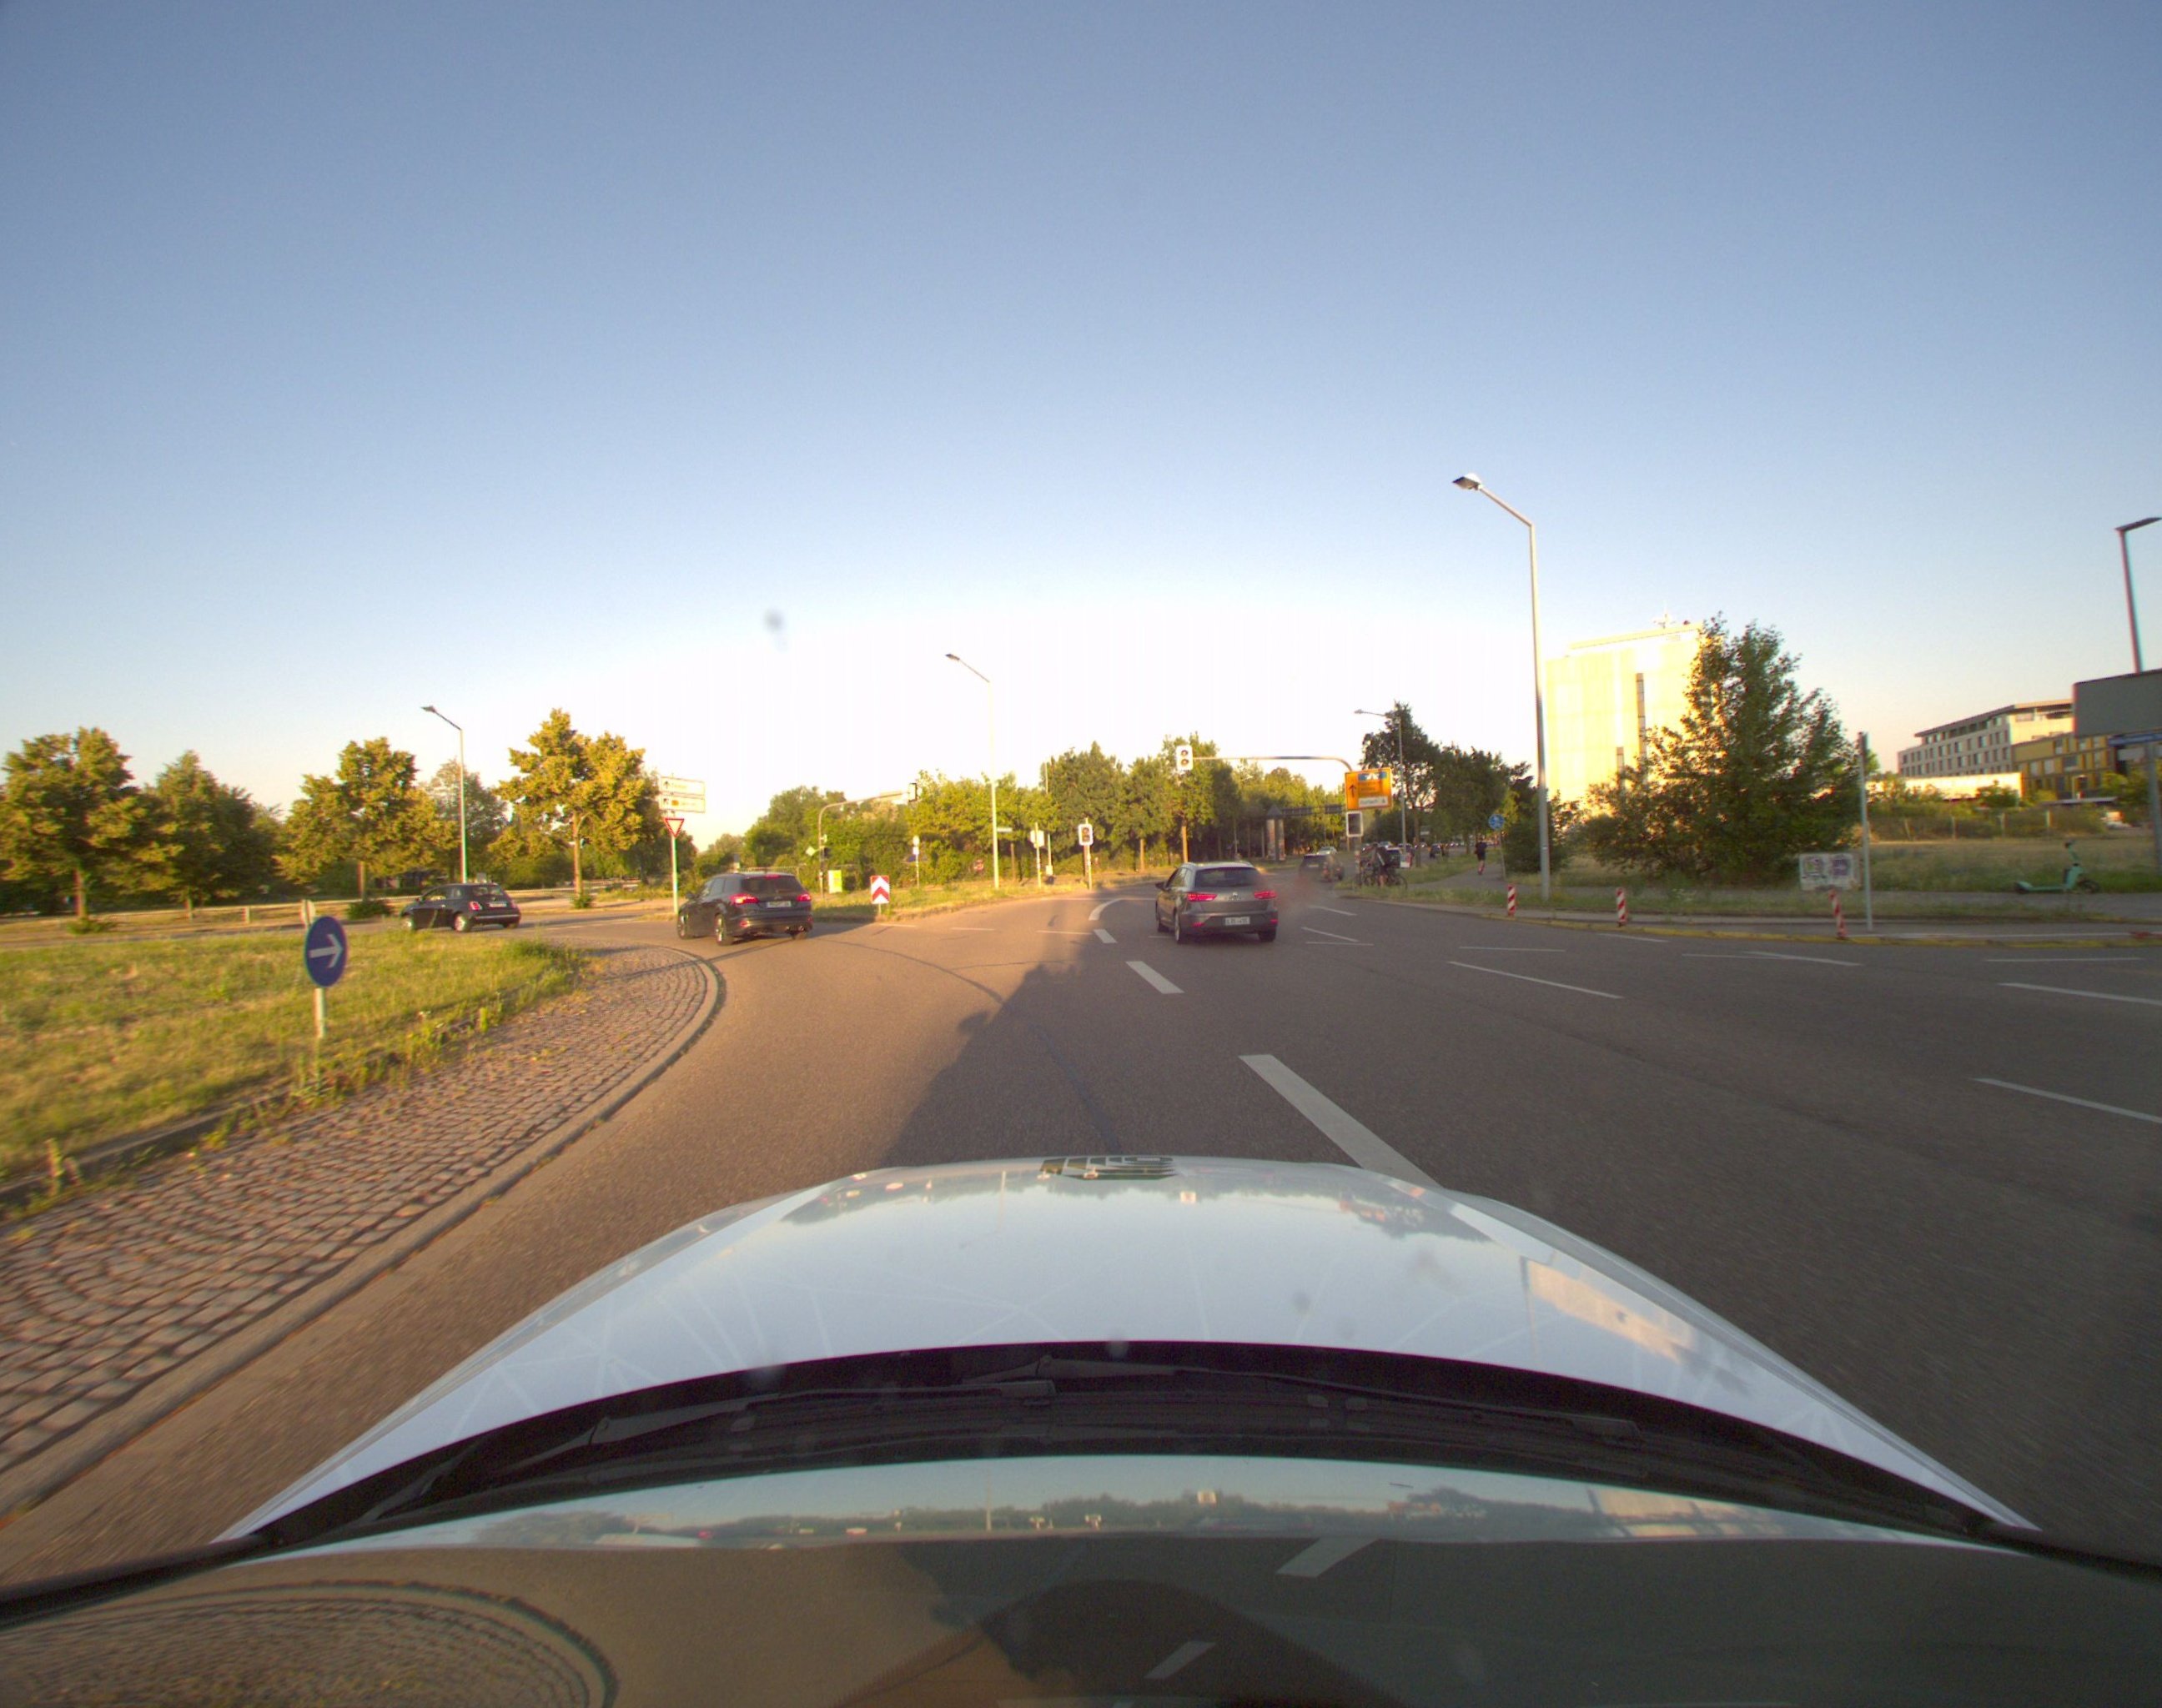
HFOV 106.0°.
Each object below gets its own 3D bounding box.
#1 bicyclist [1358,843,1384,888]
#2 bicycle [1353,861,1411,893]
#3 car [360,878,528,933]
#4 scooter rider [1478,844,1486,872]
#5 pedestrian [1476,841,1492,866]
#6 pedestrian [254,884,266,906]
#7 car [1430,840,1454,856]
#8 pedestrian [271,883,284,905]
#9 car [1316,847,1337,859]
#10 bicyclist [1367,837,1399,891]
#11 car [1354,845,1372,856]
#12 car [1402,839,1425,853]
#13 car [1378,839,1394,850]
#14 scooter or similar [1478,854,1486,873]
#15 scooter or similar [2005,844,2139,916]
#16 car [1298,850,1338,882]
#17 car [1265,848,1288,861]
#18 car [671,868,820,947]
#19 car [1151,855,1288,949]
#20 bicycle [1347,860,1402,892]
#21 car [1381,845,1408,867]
[{"bbox_3d":[11.384,0.431,31.948,0.760,1.702,0.645,-5,-1,28],"label":"bicyclist"},{"bbox_3d":[11.063,0.851,29.933,1.904,1.085,0.459,-4,-1,28],"label":"bicycle"},{"bbox_3d":[-19.367,1.546,24.810,4.093,1.446,1.758,-2,0,12],"label":"car"},{"bbox_3d":[19.947,0.193,40.497,0.261,1.339,0.409,-2,0,29],"label":"scooter rider"},{"bbox_3d":[25.437,-0.056,51.405,0.786,1.550,0.571,-3,-1,31],"label":"pedestrian"},{"bbox_3d":[-63.040,3.126,62.542,0.584,1.626,0.526,-2,-1,-41],"label":"pedestrian"},{"bbox_3d":[37.927,-0.665,85.574,1.887,1.618,4.025,-2,0,29],"label":"car"},{"bbox_3d":[-62.190,3.084,63.047,0.623,1.626,0.524,-2,-1,-41],"label":"pedestrian"},{"bbox_3d":[32.401,-0.136,107.265,1.705,1.449,4.578,-2,0,29],"label":"car"},{"bbox_3d":[11.100,0.373,29.891,0.898,1.897,0.645,-4,-1,28],"label":"bicyclist"},{"bbox_3d":[43.715,-0.503,126.259,1.780,1.633,4.484,-3,-1,31],"label":"car"},{"bbox_3d":[37.713,-0.912,92.303,1.974,1.470,4.025,-2,0,29],"label":"car"},{"bbox_3d":[52.520,-1.556,140.214,1.898,1.754,4.951,-4,-1,29],"label":"car"},{"bbox_3d":[19.962,0.475,40.522,0.244,0.914,1.045,-2,0,29],"label":"scooter or similar"},{"bbox_3d":[17.053,0.436,14.049,0.443,1.163,1.372,-2,0,-24],"label":"scooter or similar"},{"bbox_3d":[13.063,0.629,44.756,1.797,1.525,4.156,-2,0,20],"label":"car"},{"bbox_3d":[24.078,0.042,100.246,1.534,1.443,3.509,-4,-1,33],"label":"car"},{"bbox_3d":[-7.342,1.064,17.603,1.761,1.466,4.085,-1,-1,-41],"label":"car"},{"bbox_3d":[2.438,0.785,15.332,1.741,1.424,4.132,-2,0,-2],"label":"car"},{"bbox_3d":[11.485,0.866,31.858,1.904,1.085,0.459,-5,-2,28],"label":"bicycle"},{"bbox_3d":[24.412,0.138,63.258,1.730,1.488,4.158,-2,1,23],"label":"car"}]
